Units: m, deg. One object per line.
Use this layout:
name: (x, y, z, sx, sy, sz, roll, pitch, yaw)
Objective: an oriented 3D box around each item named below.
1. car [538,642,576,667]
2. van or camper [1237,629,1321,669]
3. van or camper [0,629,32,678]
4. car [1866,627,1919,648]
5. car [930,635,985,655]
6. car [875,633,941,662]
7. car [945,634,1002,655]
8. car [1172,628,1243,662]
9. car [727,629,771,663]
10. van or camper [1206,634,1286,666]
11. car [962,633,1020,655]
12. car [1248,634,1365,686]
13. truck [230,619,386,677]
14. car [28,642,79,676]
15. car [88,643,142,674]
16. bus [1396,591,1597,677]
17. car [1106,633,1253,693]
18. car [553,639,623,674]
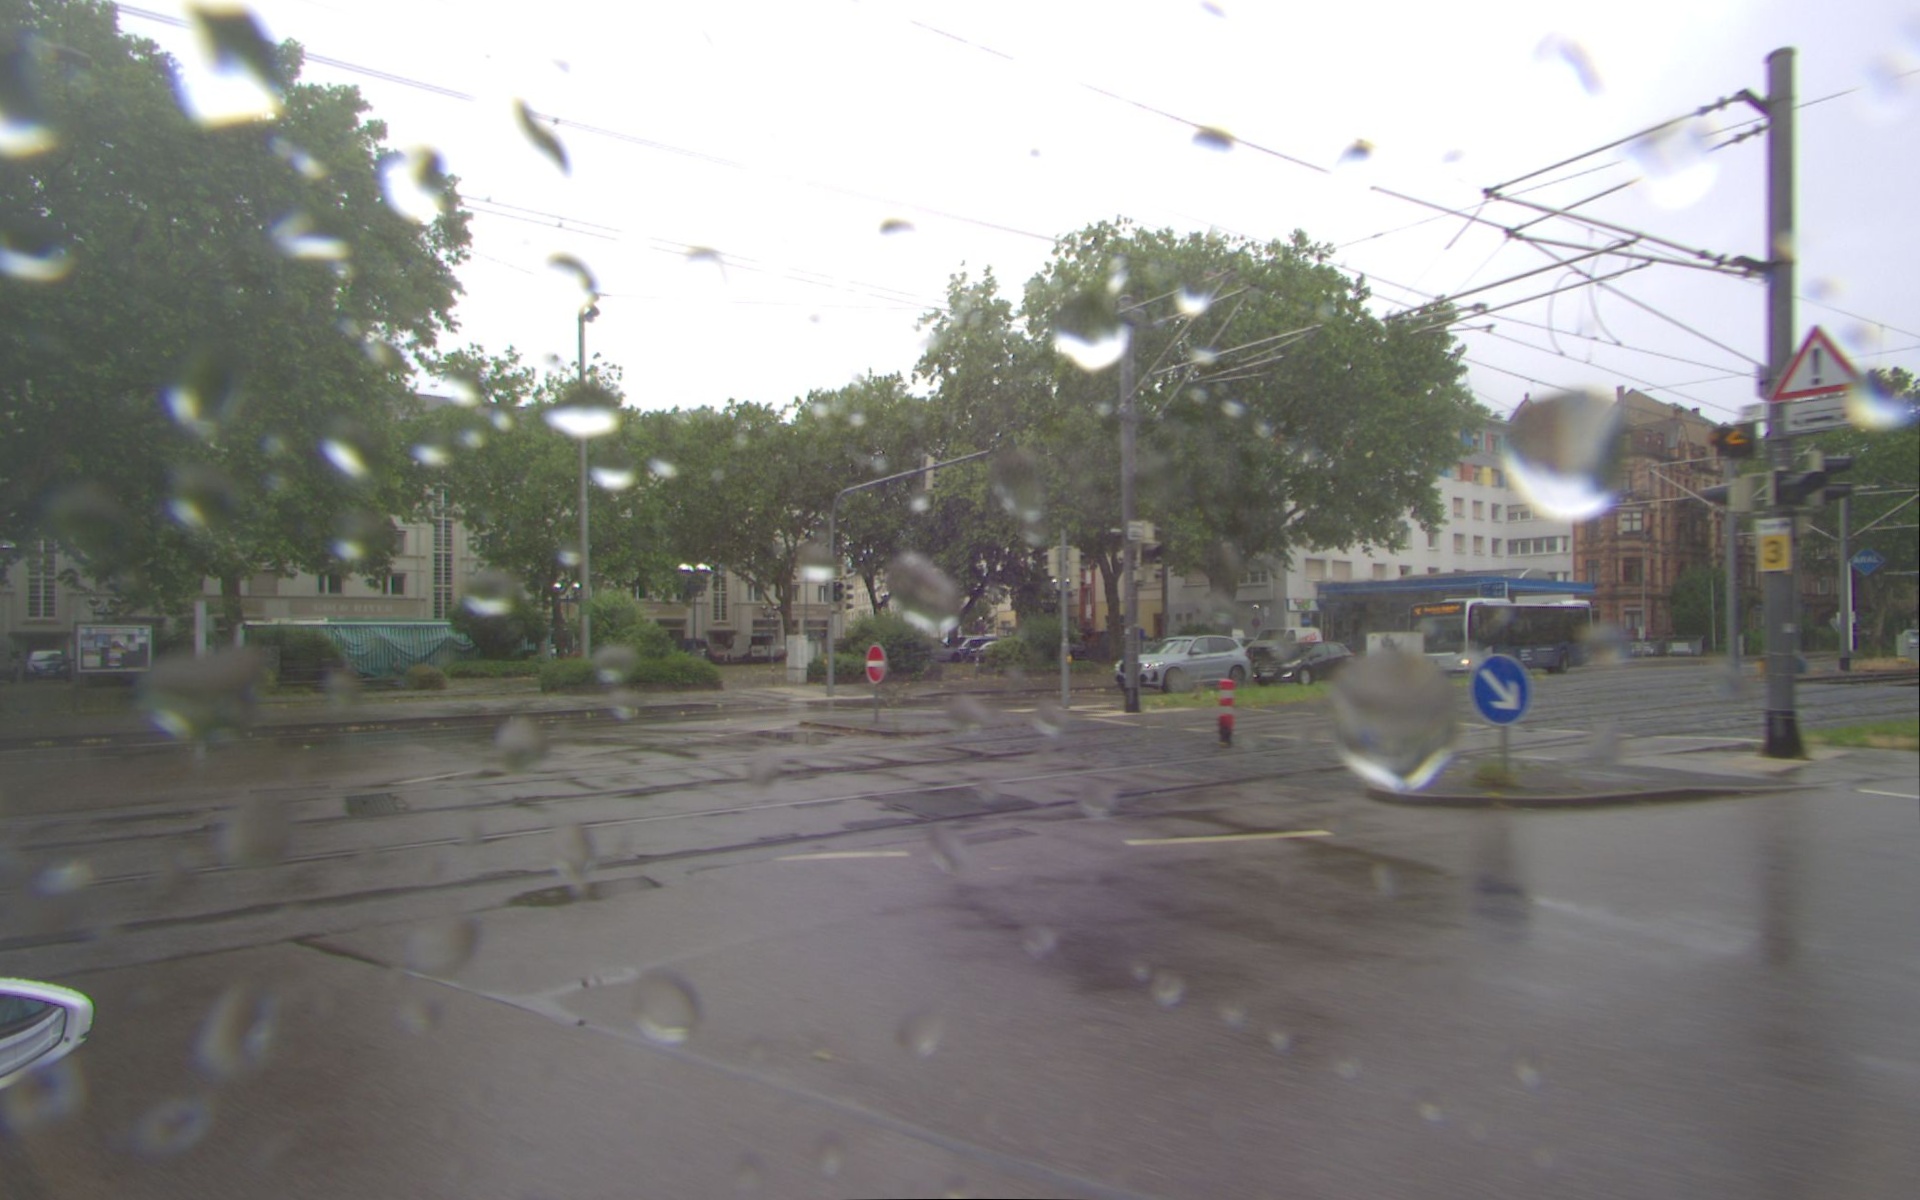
car: (-25.824, 3.517, 64.175, 1.535, 1.484, 3.347, 0, -4, -35)
van or camper: (16.398, 2.478, 51.318, 4.620, 1.939, 1.983, 1, -2, -41)
van or camper: (-46.342, 2.545, 47.538, 2.372, 2.259, 5.400, 0, -2, -32)
car: (76.411, 3.055, 81.350, 3.763, 1.644, 1.769, -1, -2, 29)
car: (-0.168, 3.397, 75.722, 3.949, 1.470, 1.666, 1, -2, -35)
car: (-3.203, 2.874, 60.838, 1.979, 1.638, 3.966, 1, -2, -41)
car: (0.982, 3.247, 73.553, 3.949, 1.470, 1.666, 1, -2, -35)
car: (13.849, 2.479, 56.003, 4.215, 1.801, 1.724, 1, -2, -41)
car: (-14.941, 3.250, 70.790, 1.535, 2.230, 4.074, 0, -4, -35)
van or camper: (15.557, 2.684, 54.332, 4.620, 1.619, 1.983, 1, -2, -41)
car: (2.219, 3.120, 71.402, 3.949, 1.470, 1.666, 1, -2, -35)
car: (11.618, 1.949, 33.498, 4.129, 1.620, 1.765, 1, -2, -38)
truck: (-32.470, 2.372, 50.016, 6.329, 2.733, 2.250, 1, -3, -40)
car: (-44.193, 2.890, 48.871, 1.666, 1.594, 3.707, 1, -3, -40)
car: (-42.805, 2.984, 50.786, 1.663, 1.449, 3.716, 0, -5, -34)
bus: (22.689, 1.397, 41.856, 11.961, 3.153, 2.871, 1, -2, -38)
car: (6.506, 1.801, 29.444, 4.501, 1.620, 1.778, 1, -2, -38)
car: (-17.182, 2.584, 46.171, 3.642, 1.541, 1.653, -3, -3, 45)
